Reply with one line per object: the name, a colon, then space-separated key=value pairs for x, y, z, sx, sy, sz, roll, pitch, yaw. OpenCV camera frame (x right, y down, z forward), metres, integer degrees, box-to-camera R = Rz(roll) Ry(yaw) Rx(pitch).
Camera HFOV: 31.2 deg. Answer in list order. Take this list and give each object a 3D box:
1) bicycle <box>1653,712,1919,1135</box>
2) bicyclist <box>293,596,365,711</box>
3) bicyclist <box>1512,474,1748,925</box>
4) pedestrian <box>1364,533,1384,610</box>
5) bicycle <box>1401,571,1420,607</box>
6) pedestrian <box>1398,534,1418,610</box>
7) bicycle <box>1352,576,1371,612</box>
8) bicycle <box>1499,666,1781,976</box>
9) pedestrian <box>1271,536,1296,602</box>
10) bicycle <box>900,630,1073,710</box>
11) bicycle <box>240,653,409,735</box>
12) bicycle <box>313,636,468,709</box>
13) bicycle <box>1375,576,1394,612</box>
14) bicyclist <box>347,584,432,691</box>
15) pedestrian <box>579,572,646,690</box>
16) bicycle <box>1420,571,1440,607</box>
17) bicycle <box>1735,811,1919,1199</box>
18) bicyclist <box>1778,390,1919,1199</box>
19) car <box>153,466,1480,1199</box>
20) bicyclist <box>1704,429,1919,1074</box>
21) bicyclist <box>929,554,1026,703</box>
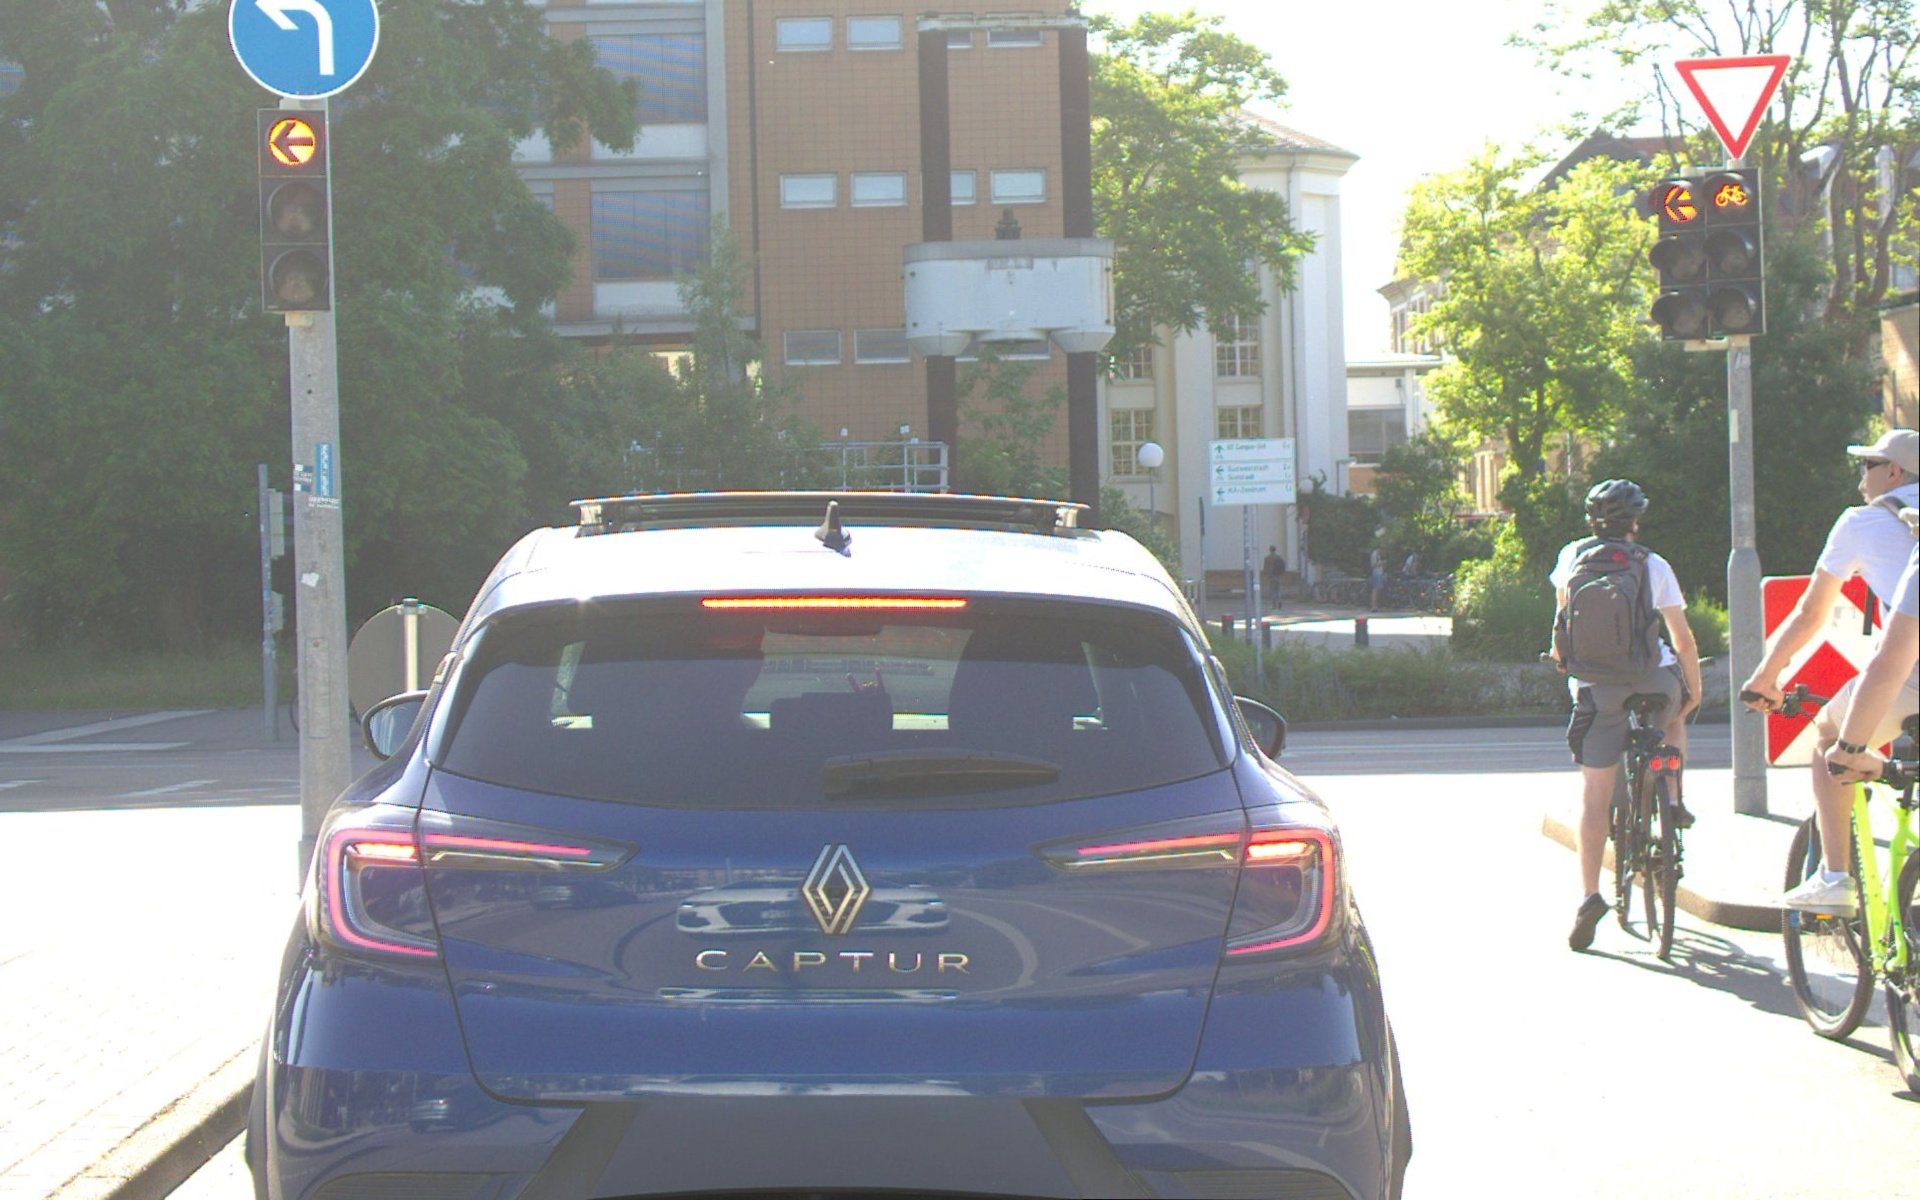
bicycle: x=2.608 y=0.864 z=9.818 sx=0.659 sy=0.999 sz=1.970 roll=1 pitch=1 yaw=-6
bicyclist: x=-8.039 y=0.674 z=43.783 sx=0.737 sy=1.436 sz=0.598 roll=-2 pitch=1 yaw=-27
bicyclist: x=2.504 y=0.354 z=12.942 sx=0.726 sy=1.623 sz=0.969 roll=1 pitch=0 yaw=4
pedestrian: x=10.973 y=-0.753 z=91.040 sx=0.475 sy=2.007 sz=0.523 roll=-1 pitch=1 yaw=6
bicycle: x=12.373 y=-0.307 z=94.400 sx=0.405 sy=0.969 sz=1.683 roll=1 pitch=1 yaw=4
pedestrian: x=12.030 y=-0.752 z=92.392 sx=0.475 sy=2.007 sz=0.468 roll=-1 pitch=1 yaw=6
bicycle: x=10.983 y=-0.180 z=94.077 sx=0.405 sy=0.969 sz=1.683 roll=1 pitch=1 yaw=4
bicycle: x=2.506 y=0.780 z=12.898 sx=0.739 sy=0.992 sz=2.173 roll=1 pitch=1 yaw=3
pedestrian: x=9.176 y=-0.891 z=97.517 sx=0.623 sy=1.849 sz=0.563 roll=-1 pitch=1 yaw=1
bicycle: x=0.344 y=0.896 z=43.901 sx=2.082 sy=0.927 sz=0.696 roll=-2 pitch=2 yaw=11
bicycle: x=-8.087 y=1.187 z=43.766 sx=2.005 sy=0.961 sz=0.598 roll=-2 pitch=1 yaw=-27
bicycle: x=-7.765 y=0.985 z=46.888 sx=2.079 sy=0.961 sz=0.598 roll=-1 pitch=1 yaw=24
bicycle: x=11.605 y=-0.170 z=94.034 sx=0.405 sy=0.969 sz=1.683 roll=1 pitch=1 yaw=4
bicyclist: x=-7.776 y=0.508 z=46.883 sx=0.937 sy=1.424 sz=0.598 roll=-1 pitch=1 yaw=24
pedestrian: x=-4.768 y=0.426 z=47.212 sx=0.737 sy=1.598 sz=0.598 roll=-1 pitch=1 yaw=12
bicycle: x=12.909 y=-0.300 z=94.413 sx=0.405 sy=0.969 sz=1.683 roll=1 pitch=1 yaw=4
bicycle: x=2.224 y=0.966 z=7.253 sx=0.740 sy=0.893 sz=1.978 roll=1 pitch=1 yaw=1
bicyclist: x=2.228 y=0.420 z=7.242 sx=0.751 sy=1.663 sz=1.016 roll=1 pitch=0 yaw=1
car: x=-0.272 y=0.613 z=6.693 sx=1.803 sy=1.626 sz=4.000 roll=0 pitch=1 yaw=-2
bicyclist: x=2.618 y=0.406 z=9.807 sx=0.645 sy=1.733 sz=1.067 roll=1 pitch=0 yaw=-6
bicyclist: x=0.230 y=0.363 z=43.756 sx=1.102 sy=1.861 sz=0.652 roll=-1 pitch=1 yaw=10
